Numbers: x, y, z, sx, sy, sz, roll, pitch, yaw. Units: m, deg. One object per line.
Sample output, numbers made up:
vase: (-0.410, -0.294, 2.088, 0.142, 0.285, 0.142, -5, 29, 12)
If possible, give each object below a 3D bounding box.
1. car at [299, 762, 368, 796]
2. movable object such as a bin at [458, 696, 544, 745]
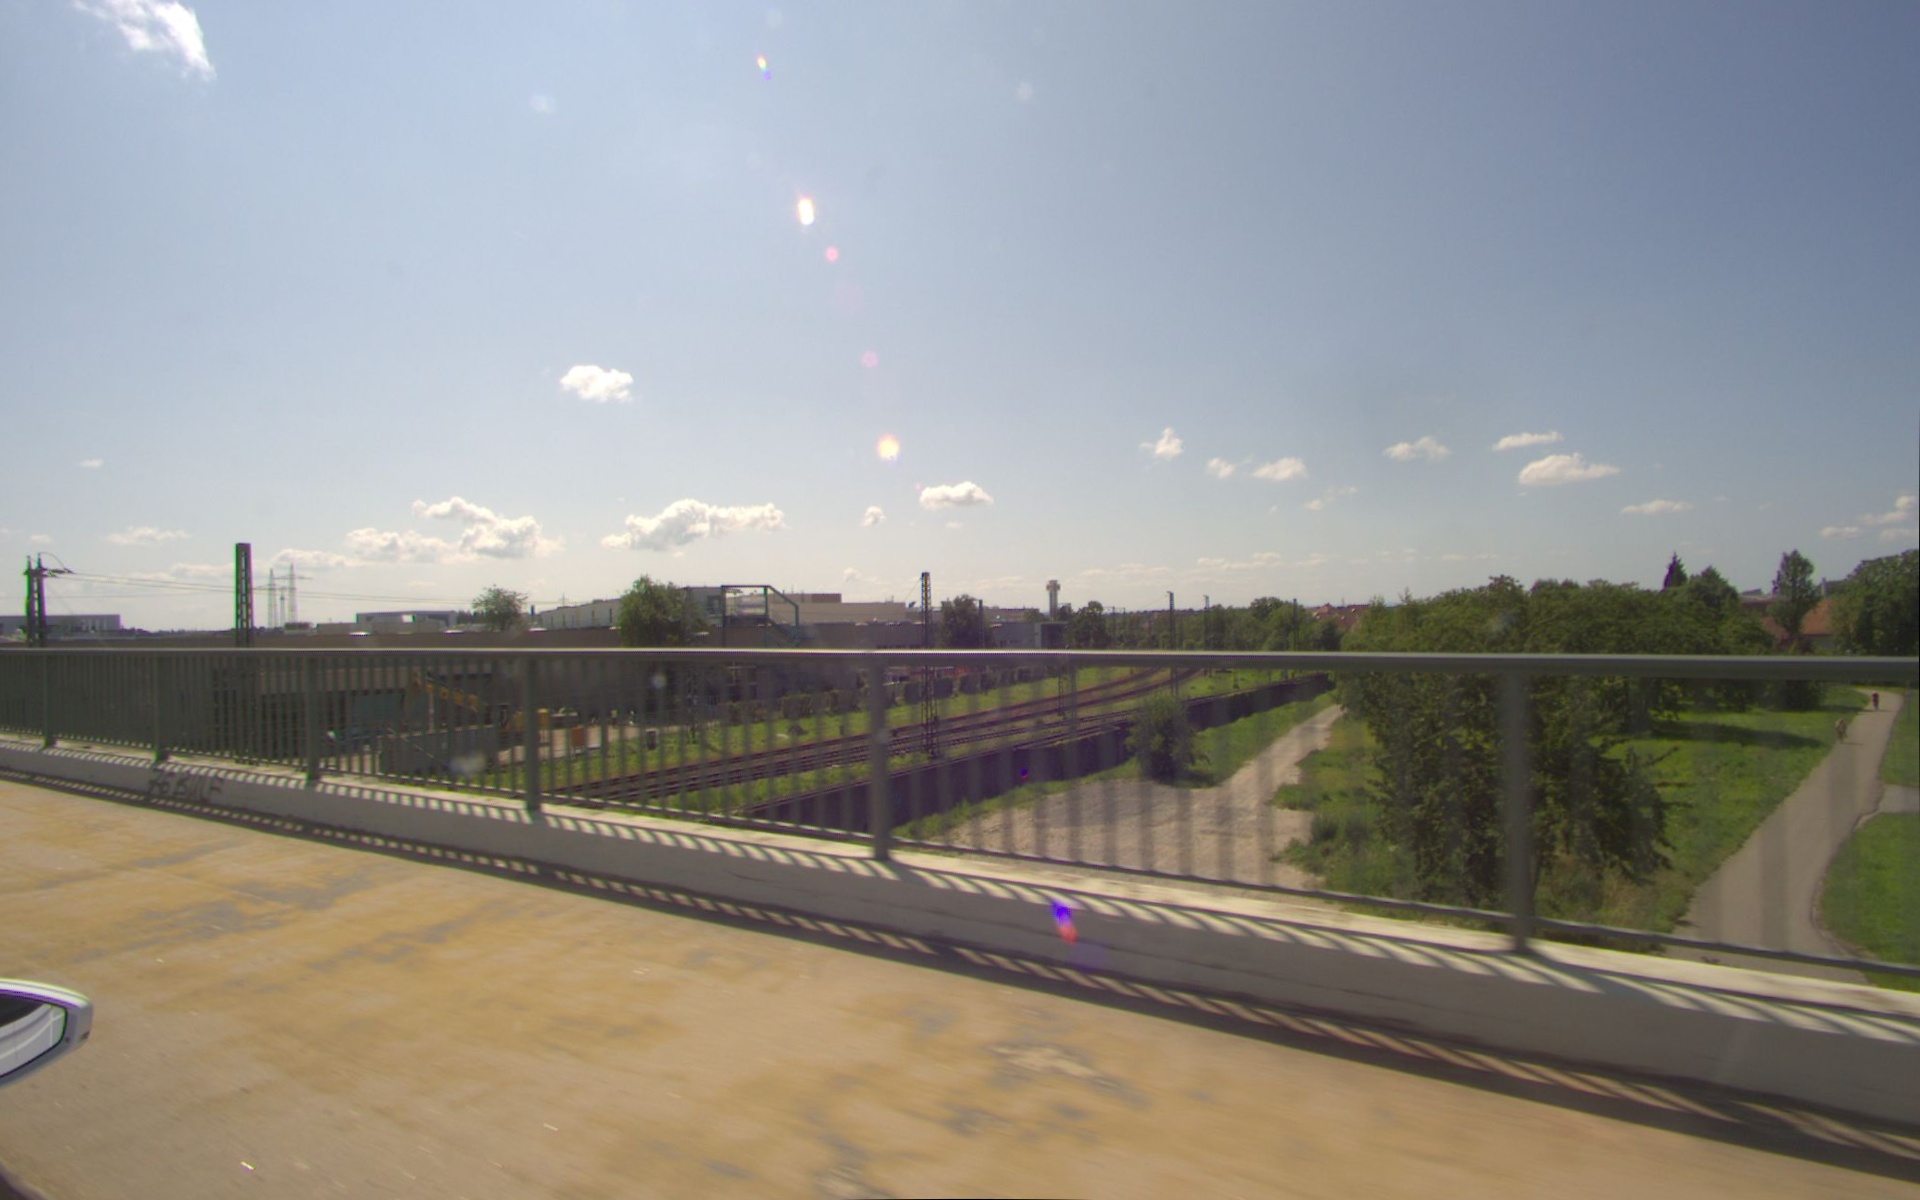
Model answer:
car: (-37.889, 10.789, 60.506, 4.188, 1.614, 1.990, -2, -6, 35)
movable object such as a bin: (-37.319, 9.744, 81.421, 6.133, 3.333, 3.231, 0, 0, -30)
